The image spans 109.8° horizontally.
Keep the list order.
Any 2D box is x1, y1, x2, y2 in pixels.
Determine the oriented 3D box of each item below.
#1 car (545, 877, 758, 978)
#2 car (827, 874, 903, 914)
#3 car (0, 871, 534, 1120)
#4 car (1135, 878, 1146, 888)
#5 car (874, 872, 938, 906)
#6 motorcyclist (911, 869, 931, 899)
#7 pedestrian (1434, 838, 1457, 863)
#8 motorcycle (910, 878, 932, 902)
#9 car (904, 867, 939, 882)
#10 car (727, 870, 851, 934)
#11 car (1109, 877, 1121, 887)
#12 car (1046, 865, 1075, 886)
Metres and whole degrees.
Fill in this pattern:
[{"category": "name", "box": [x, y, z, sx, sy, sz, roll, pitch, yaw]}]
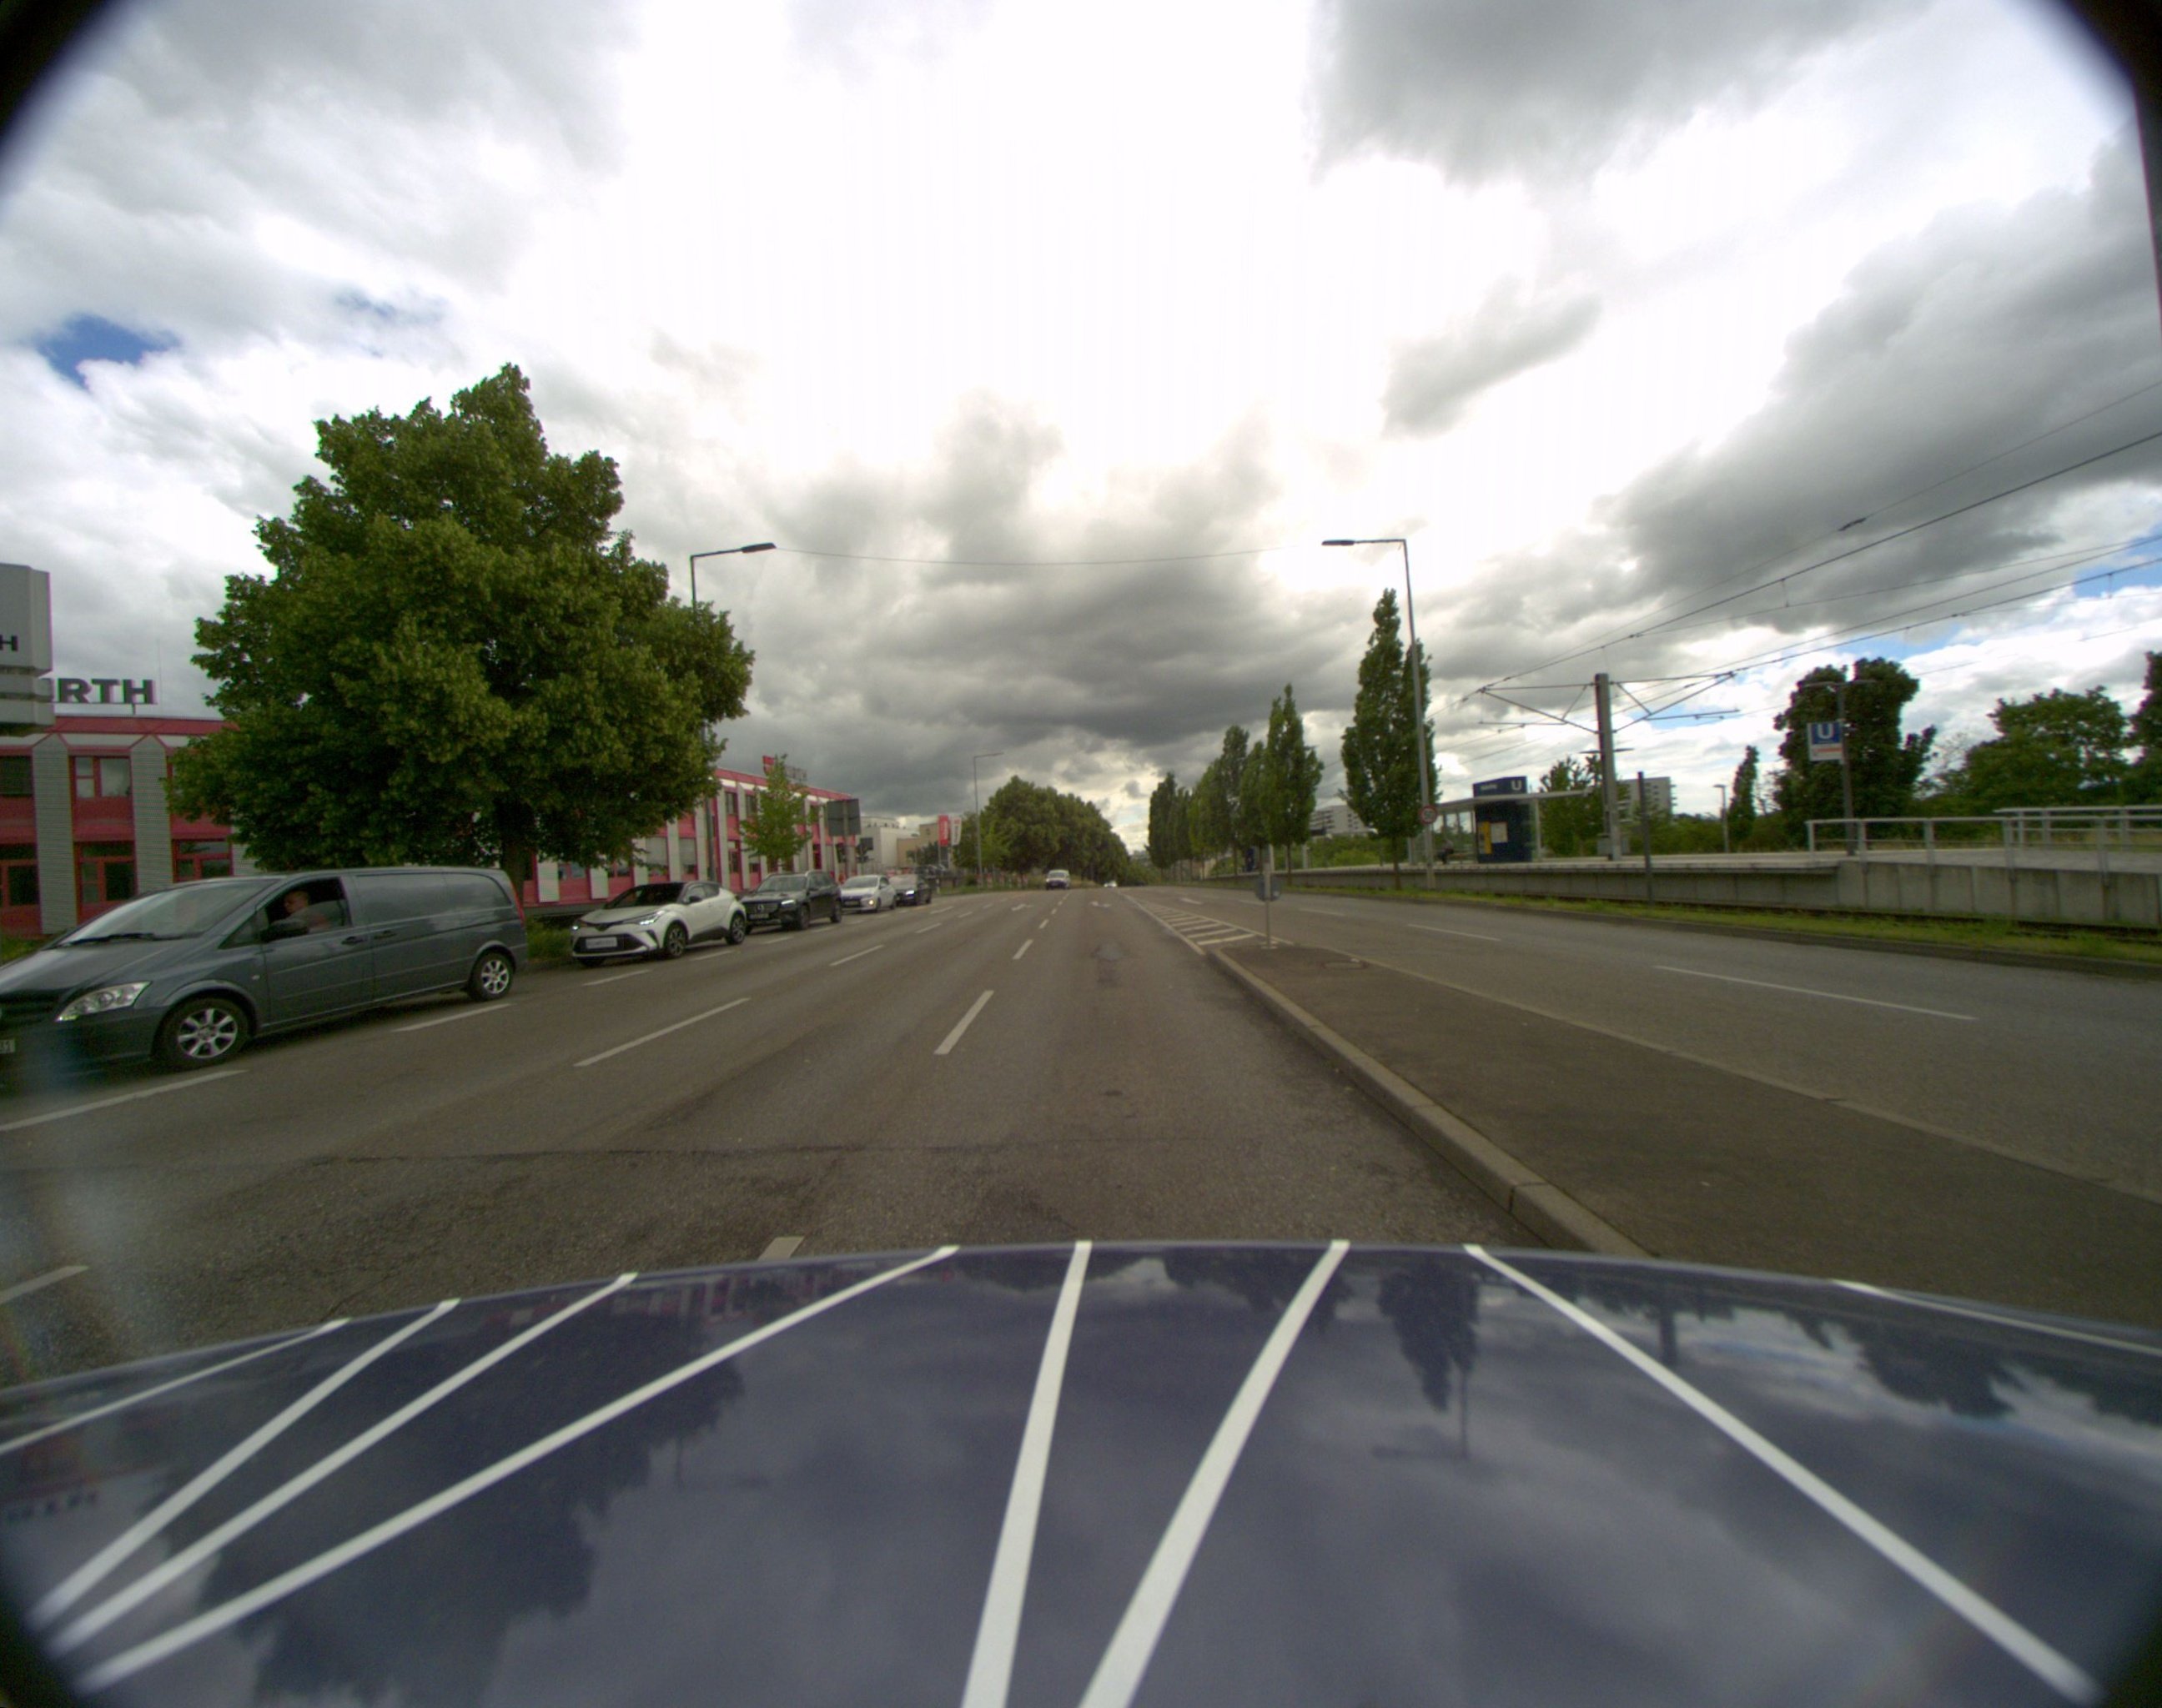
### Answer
[{"category": "car", "box": [-8.557, 1.382, 15.666, 1.785, 1.526, 4.305, -5, 0, 0]}, {"category": "car", "box": [-8.467, 1.558, 30.105, 1.785, 1.434, 3.836, -1, -2, 1]}, {"category": "car", "box": [-8.859, 1.229, 8.401, 1.920, 1.823, 4.722, -5, 0, 2]}, {"category": "car", "box": [11.274, 5.505, 143.409, 1.869, 1.674, 4.843, -2, -3, 5]}, {"category": "car", "box": [-8.015, 1.594, 35.205, 1.785, 1.437, 4.530, -1, -2, 1]}, {"category": "motorcyclist", "box": [-8.343, 1.544, 39.621, 0.750, 1.481, 0.933, -4, -1, -3]}, {"category": "pedestrian", "box": [17.627, -0.167, 36.731, 0.663, 1.195, 0.782, -2, 0, -7]}, {"category": "motorcycle", "box": [-8.317, 1.865, 39.511, 0.750, 1.140, 1.943, -4, -1, -3]}, {"category": "car", "box": [-21.208, 2.694, 101.005, 4.248, 1.744, 1.784, -2, 0, 2]}, {"category": "car", "box": [-8.369, 1.329, 22.212, 1.785, 1.639, 4.427, -1, -2, 1]}, {"category": "car", "box": [5.380, 4.414, 118.943, 1.784, 1.353, 4.483, 0, -3, 4]}, {"category": "car", "box": [-1.831, 1.892, 68.513, 1.998, 1.791, 4.841, -2, 0, 5]}]
